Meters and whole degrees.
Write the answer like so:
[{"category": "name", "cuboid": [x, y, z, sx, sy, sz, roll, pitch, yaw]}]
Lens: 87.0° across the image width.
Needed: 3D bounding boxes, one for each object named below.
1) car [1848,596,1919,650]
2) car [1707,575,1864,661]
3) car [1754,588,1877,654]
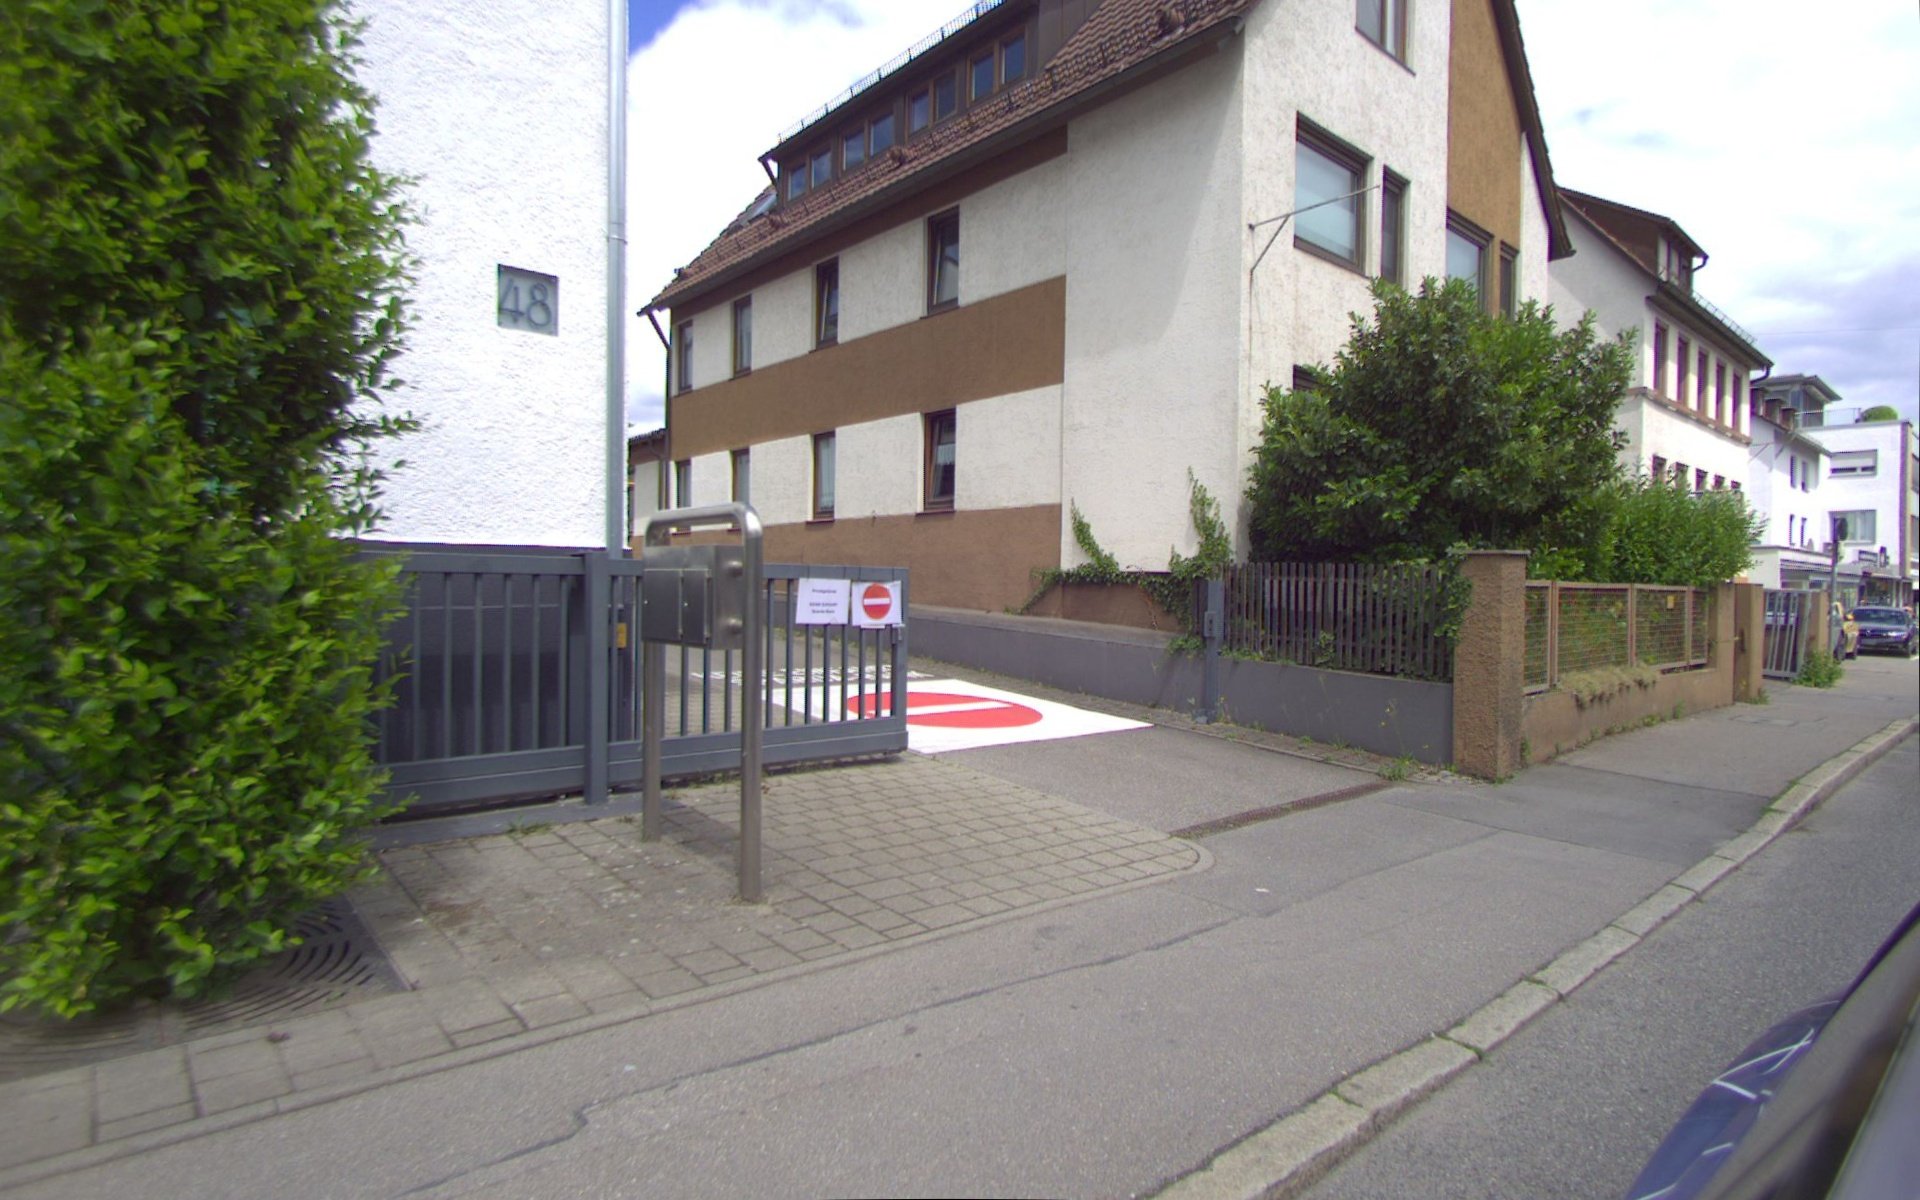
[{"category": "car", "cuboid": [27.621, 0.643, 29.934, 3.933, 1.439, 1.654, 0, 1, -43]}, {"category": "car", "cuboid": [17.683, 0.336, 21.615, 4.030, 1.639, 1.997, 0, 1, -42]}, {"category": "car", "cuboid": [21.087, 0.470, 24.905, 3.934, 1.430, 1.922, 0, 1, -44]}]
